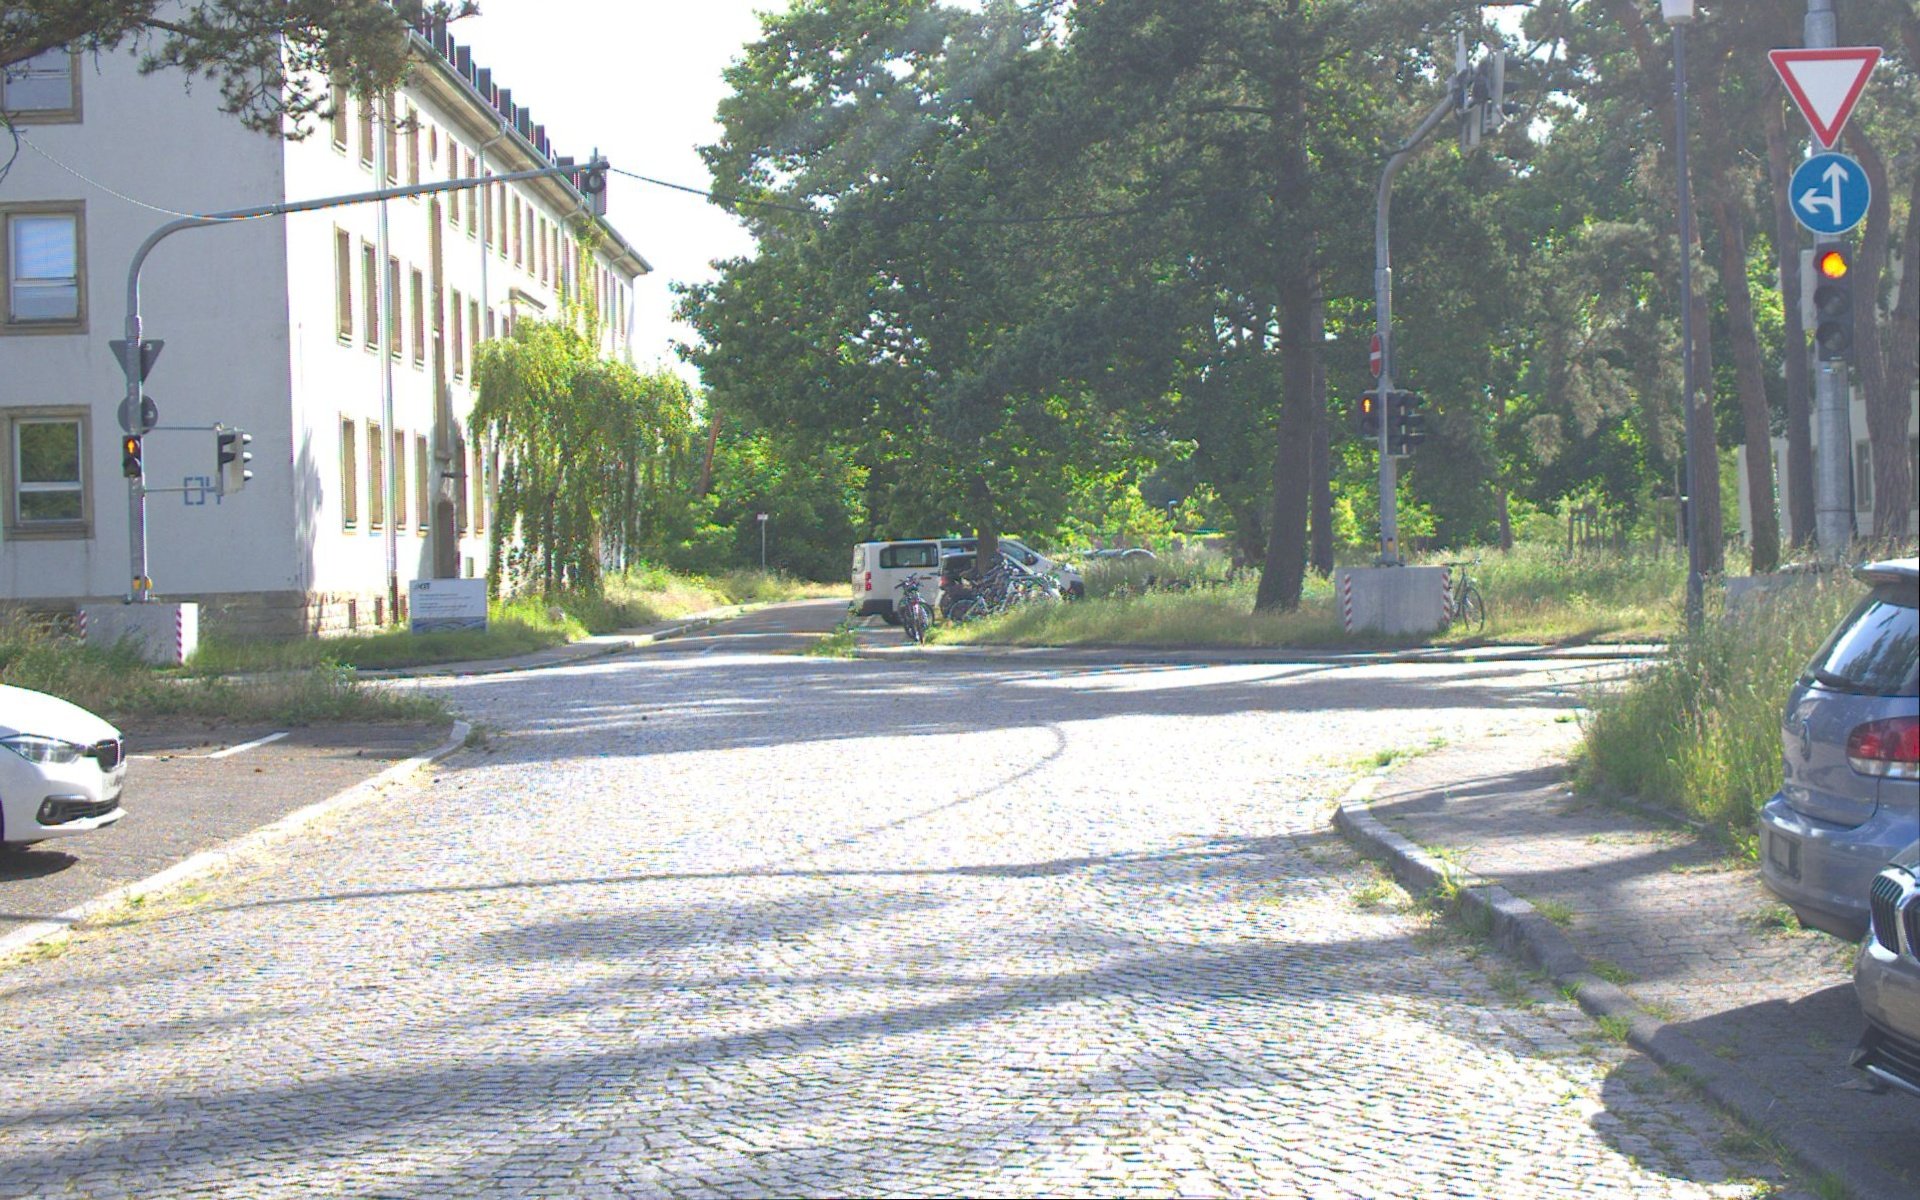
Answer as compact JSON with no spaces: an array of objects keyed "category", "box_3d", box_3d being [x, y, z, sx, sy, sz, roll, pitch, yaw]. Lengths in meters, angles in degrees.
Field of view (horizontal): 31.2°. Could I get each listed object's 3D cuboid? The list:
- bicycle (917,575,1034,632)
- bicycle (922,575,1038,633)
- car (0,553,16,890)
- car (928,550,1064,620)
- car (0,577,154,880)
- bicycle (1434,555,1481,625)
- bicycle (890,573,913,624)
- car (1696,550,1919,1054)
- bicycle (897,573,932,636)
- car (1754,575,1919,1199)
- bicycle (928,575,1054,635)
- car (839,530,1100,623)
[{"category":"bicycle","box_3d":[0.273,0.063,62.227,2.027,1.007,0.627,1,0,-7]},{"category":"bicycle","box_3d":[0.354,0.068,61.345,2.004,1.007,0.632,1,0,-7]},{"category":"car","box_3d":[-6.518,0.562,15.425,4.080,1.588,1.886,1,1,-3]},{"category":"car","box_3d":[0.761,-0.327,74.103,2.781,1.462,1.671,1,0,-4]},{"category":"car","box_3d":[-6.547,0.606,17.836,4.333,1.463,1.831,1,1,-3]},{"category":"bicycle","box_3d":[6.872,-0.139,47.510,0.300,0.957,1.586,1,0,-4]},{"category":"bicycle","box_3d":[-1.180,-0.026,69.290,0.417,1.007,1.483,1,0,0]},{"category":"car","box_3d":[4.442,0.499,10.747,3.882,1.410,1.637,-3,1,1]},{"category":"bicycle","box_3d":[-0.742,0.065,56.073,0.467,1.007,1.586,1,0,-4]},{"category":"car","box_3d":[4.336,0.570,7.968,4.559,1.410,1.637,-3,1,1]},{"category":"bicycle","box_3d":[0.533,0.078,59.631,2.109,1.007,0.621,1,0,-7]},{"category":"car","box_3d":[0.210,-0.522,77.699,5.520,2.007,2.001,1,0,-18]}]
